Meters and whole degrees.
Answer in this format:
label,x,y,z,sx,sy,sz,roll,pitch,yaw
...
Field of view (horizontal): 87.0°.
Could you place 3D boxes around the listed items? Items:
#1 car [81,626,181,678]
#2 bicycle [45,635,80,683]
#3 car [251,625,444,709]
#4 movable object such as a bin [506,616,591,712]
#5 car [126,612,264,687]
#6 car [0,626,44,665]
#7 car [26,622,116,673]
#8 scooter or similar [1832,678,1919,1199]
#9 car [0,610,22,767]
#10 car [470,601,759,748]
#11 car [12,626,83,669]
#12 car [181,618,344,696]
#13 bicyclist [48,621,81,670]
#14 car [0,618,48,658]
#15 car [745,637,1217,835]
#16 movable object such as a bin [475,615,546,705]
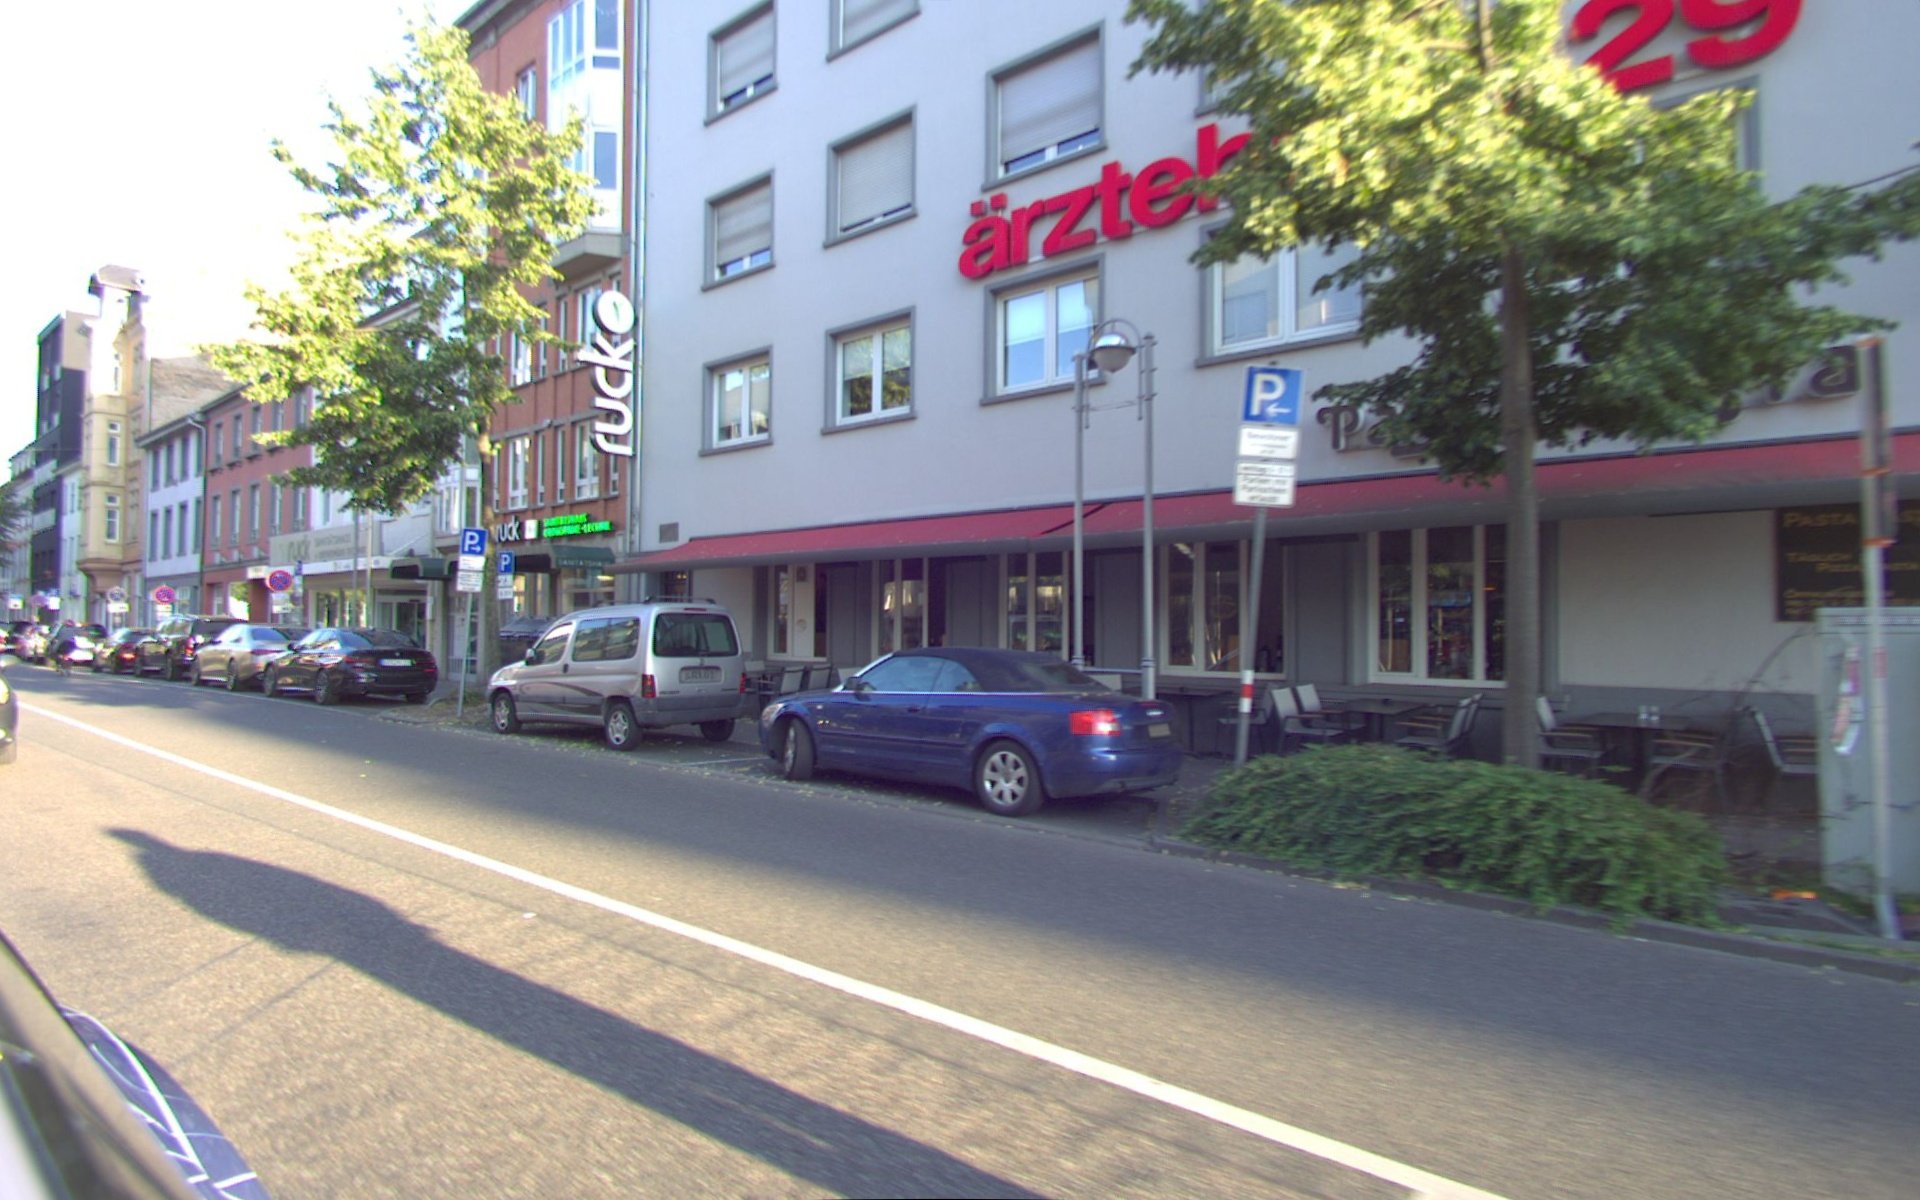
label,x,y,z,sx,sy,sz,roll,pitch,yaw
car,-25.988,1.603,31.697,3.839,1.536,1.714,-1,-3,40
bicycle,-24.994,1.625,28.182,1.692,1.246,0.415,0,0,38
car,-11.929,1.212,19.596,4.412,1.403,1.782,0,-1,39
movable object such as a bin,-7.075,1.054,17.368,1.483,1.555,0.743,0,0,40
car,-21.173,1.345,27.941,4.942,1.898,1.948,-2,-3,40
car,-39.999,1.899,42.474,3.775,1.524,1.768,-1,-1,40
car,-32.663,1.703,37.156,4.137,1.741,1.853,-1,-2,40
scooter or similar,1.915,0.778,0.861,1.662,1.361,0.540,-1,-2,29
car,-10.846,0.839,10.054,3.836,1.464,1.568,-1,-2,37
car,-4.670,0.864,13.477,3.993,1.676,1.699,0,0,37
car,-36.561,1.879,40.533,3.514,1.602,1.664,-1,-1,40
car,-16.136,1.274,23.299,4.941,1.612,1.871,-2,-3,41
bicyclist,-24.889,1.256,28.127,0.660,1.312,0.562,-1,0,38
car,-42.937,1.678,45.814,4.033,1.689,1.858,0,0,40
car,0.033,1.077,9.437,4.307,1.363,1.633,0,-2,39
movable object such as a bin,-8.100,1.064,18.235,1.100,1.547,0.738,-2,-1,40
